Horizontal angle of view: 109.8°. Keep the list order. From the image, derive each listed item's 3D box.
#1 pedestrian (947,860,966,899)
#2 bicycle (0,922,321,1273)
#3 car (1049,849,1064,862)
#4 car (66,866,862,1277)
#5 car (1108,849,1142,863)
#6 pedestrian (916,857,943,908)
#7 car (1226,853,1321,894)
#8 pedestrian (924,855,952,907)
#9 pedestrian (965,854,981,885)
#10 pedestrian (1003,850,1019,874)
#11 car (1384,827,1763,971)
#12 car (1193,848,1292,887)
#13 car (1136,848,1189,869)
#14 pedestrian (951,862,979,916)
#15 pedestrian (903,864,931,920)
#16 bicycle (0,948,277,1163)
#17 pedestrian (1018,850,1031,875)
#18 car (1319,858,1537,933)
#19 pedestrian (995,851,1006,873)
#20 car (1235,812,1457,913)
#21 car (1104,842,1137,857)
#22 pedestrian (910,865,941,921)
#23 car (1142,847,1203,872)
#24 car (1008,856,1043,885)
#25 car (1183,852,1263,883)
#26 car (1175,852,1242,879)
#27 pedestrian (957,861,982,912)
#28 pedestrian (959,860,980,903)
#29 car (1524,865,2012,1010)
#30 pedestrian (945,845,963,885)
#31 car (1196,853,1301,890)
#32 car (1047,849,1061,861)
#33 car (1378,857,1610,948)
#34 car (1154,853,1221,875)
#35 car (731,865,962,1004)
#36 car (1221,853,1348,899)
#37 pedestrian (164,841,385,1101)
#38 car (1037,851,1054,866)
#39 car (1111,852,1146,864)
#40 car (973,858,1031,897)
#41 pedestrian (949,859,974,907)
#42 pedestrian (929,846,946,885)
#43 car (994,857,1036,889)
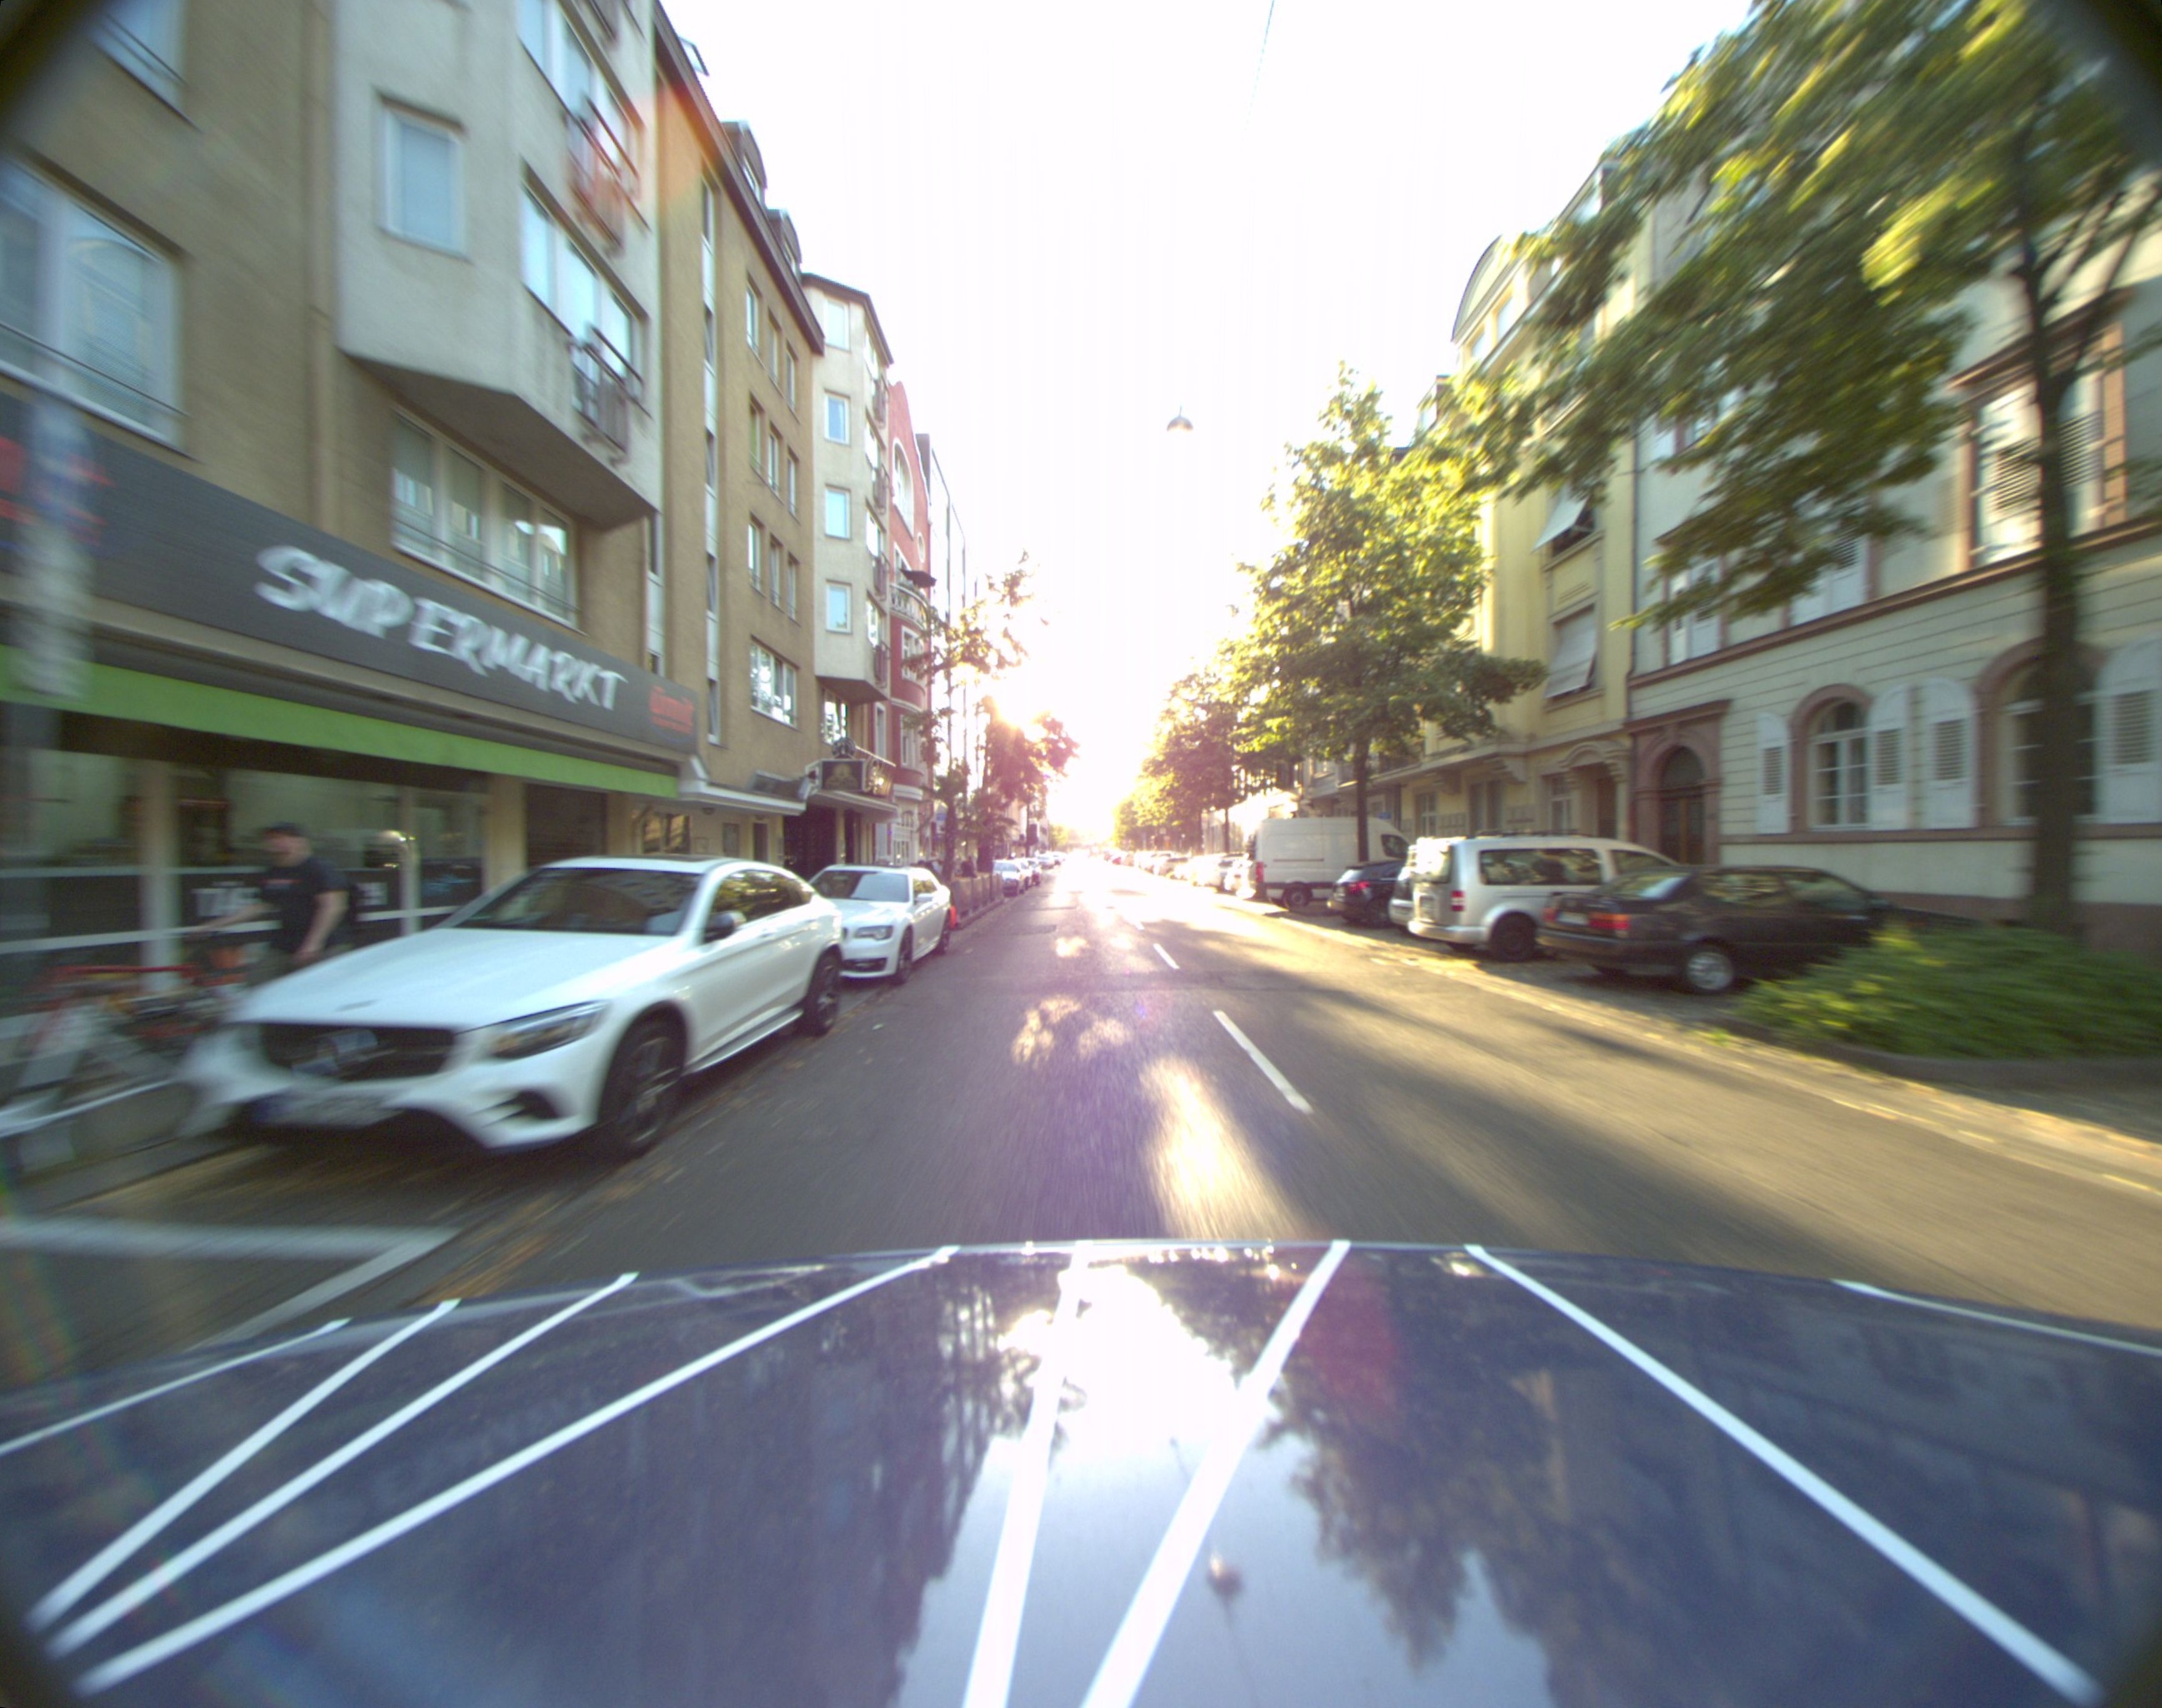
[{"bbox_3d":[-4.264,0.874,26.089,0.549,1.337,0.438,1,1,0],"label":"pedestrian"},{"bbox_3d":[-4.647,1.021,3.212,0.777,1.255,2.050,2,0,1],"label":"bicycle"},{"bbox_3d":[-3.734,0.254,117.957,1.868,1.900,4.256,3,0,3],"label":"car"},{"bbox_3d":[-3.236,0.940,5.489,1.884,1.565,4.691,2,0,0],"label":"car"},{"bbox_3d":[6.292,0.241,108.461,4.579,1.922,1.896,-1,0,-38],"label":"car"},{"bbox_3d":[-4.188,0.788,21.043,0.579,1.376,0.718,1,1,0],"label":"pedestrian"},{"bbox_3d":[7.756,0.754,30.821,3.415,1.501,1.847,-2,0,3],"label":"car"},{"bbox_3d":[-4.477,0.840,23.854,0.709,1.589,0.795,1,0,0],"label":"pedestrian"},{"bbox_3d":[-5.223,0.723,36.724,0.626,1.480,0.640,1,1,1],"label":"pedestrian"},{"bbox_3d":[-5.253,0.605,56.762,1.049,1.775,0.945,2,1,0],"label":"pedestrian"},{"bbox_3d":[7.276,0.634,11.623,4.511,1.942,1.919,-1,0,2],"label":"car"},{"bbox_3d":[7.712,0.639,36.571,4.242,1.641,1.892,-2,0,-4],"label":"car"},{"bbox_3d":[7.282,0.416,68.369,4.568,1.772,1.946,-1,1,-1],"label":"car"},{"bbox_3d":[-2.928,0.867,19.244,0.579,1.311,0.704,1,1,0],"label":"pedestrian"},{"bbox_3d":[-4.179,0.961,19.387,0.579,1.376,0.603,1,1,0],"label":"pedestrian"},{"bbox_3d":[-5.895,1.138,4.575,0.460,0.952,1.549,0,0,0],"label":"bicycle"},{"bbox_3d":[-4.218,0.646,56.747,0.731,1.775,0.870,3,1,0],"label":"pedestrian"},{"bbox_3d":[7.500,0.874,16.675,3.997,1.396,1.749,-2,1,-2],"label":"car"},{"bbox_3d":[-6.505,0.642,61.452,0.756,1.748,0.812,0,1,0],"label":"pedestrian"},{"bbox_3d":[7.592,0.225,22.238,5.673,2.606,2.171,-2,0,0],"label":"car"},{"bbox_3d":[6.142,-0.683,118.647,4.782,2.344,2.152,-1,0,-28],"label":"car"},{"bbox_3d":[-3.601,0.895,17.653,0.579,1.237,0.603,1,1,0],"label":"pedestrian"},{"bbox_3d":[7.360,0.443,61.529,4.718,1.800,2.053,-2,0,1],"label":"car"},{"bbox_3d":[-3.207,0.925,44.605,1.727,1.484,4.751,2,0,-1],"label":"car"},{"bbox_3d":[7.667,0.717,41.221,3.926,1.440,1.696,-3,0,-3],"label":"car"},{"bbox_3d":[7.711,0.700,46.290,3.794,1.440,1.789,-2,0,2],"label":"car"},{"bbox_3d":[-3.074,0.882,20.939,0.579,1.376,0.603,1,1,0],"label":"pedestrian"},{"bbox_3d":[-3.805,0.927,25.905,0.579,1.454,0.603,1,1,0],"label":"pedestrian"},{"bbox_3d":[7.689,0.901,8.803,4.162,1.431,1.593,-1,0,1],"label":"car"},{"bbox_3d":[-5.987,0.517,35.775,0.627,1.857,0.976,2,1,0],"label":"pedestrian"},{"bbox_3d":[7.375,0.757,33.726,4.197,1.474,1.970,-2,0,-1],"label":"car"},{"bbox_3d":[-3.871,0.164,109.710,1.759,1.638,3.793,3,0,0],"label":"car"},{"bbox_3d":[7.567,0.843,14.135,3.379,1.458,1.712,-2,0,-4],"label":"car"},{"bbox_3d":[7.493,0.688,53.628,4.393,1.414,1.822,-2,0,0],"label":"car"},{"bbox_3d":[-3.146,0.978,11.460,1.846,1.472,5.189,2,0,0],"label":"car"},{"bbox_3d":[7.504,0.787,28.299,4.224,1.497,1.793,-2,0,0],"label":"car"},{"bbox_3d":[-5.594,0.766,5.319,0.790,1.694,0.700,1,1,0],"label":"pedestrian"},{"bbox_3d":[-4.023,0.511,87.086,1.759,1.638,3.793,3,0,0],"label":"car"},{"bbox_3d":[6.352,0.545,101.708,4.579,1.548,1.809,-1,0,-38],"label":"car"},{"bbox_3d":[-3.282,0.951,32.477,1.779,1.431,5.000,2,0,2],"label":"car"},{"bbox_3d":[-3.731,0.906,23.840,0.633,1.476,0.795,1,0,0],"label":"pedestrian"},{"bbox_3d":[-6.756,0.515,35.767,0.590,1.799,0.835,2,1,0],"label":"pedestrian"},{"bbox_3d":[-3.288,0.941,38.771,1.779,1.462,4.417,2,0,-1],"label":"car"}]
